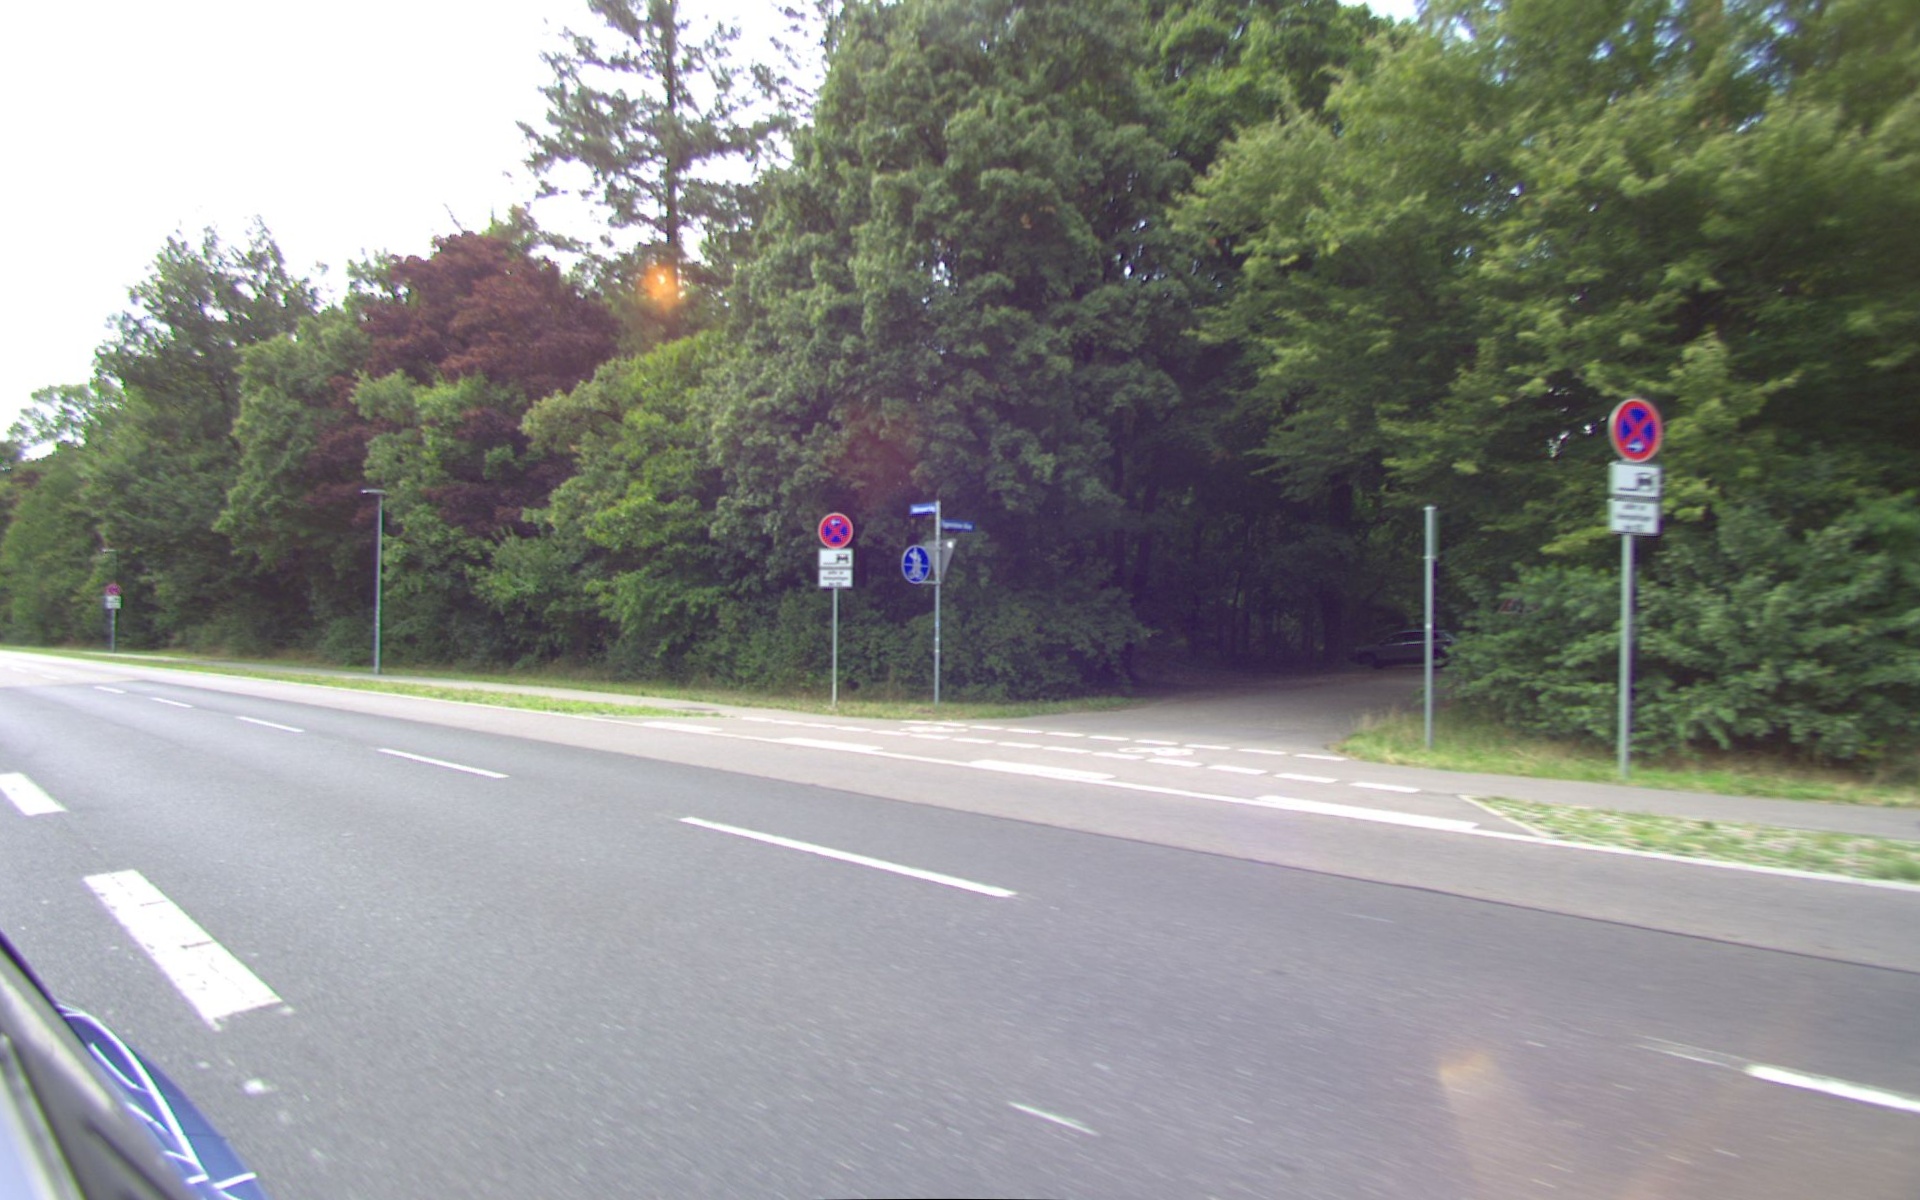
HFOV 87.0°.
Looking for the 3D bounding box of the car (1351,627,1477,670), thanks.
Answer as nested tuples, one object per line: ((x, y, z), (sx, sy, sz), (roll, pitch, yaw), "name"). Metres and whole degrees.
((18.806, 1.984, 41.954), (4.524, 1.597, 1.978), (-1, 1, 32), "car")
